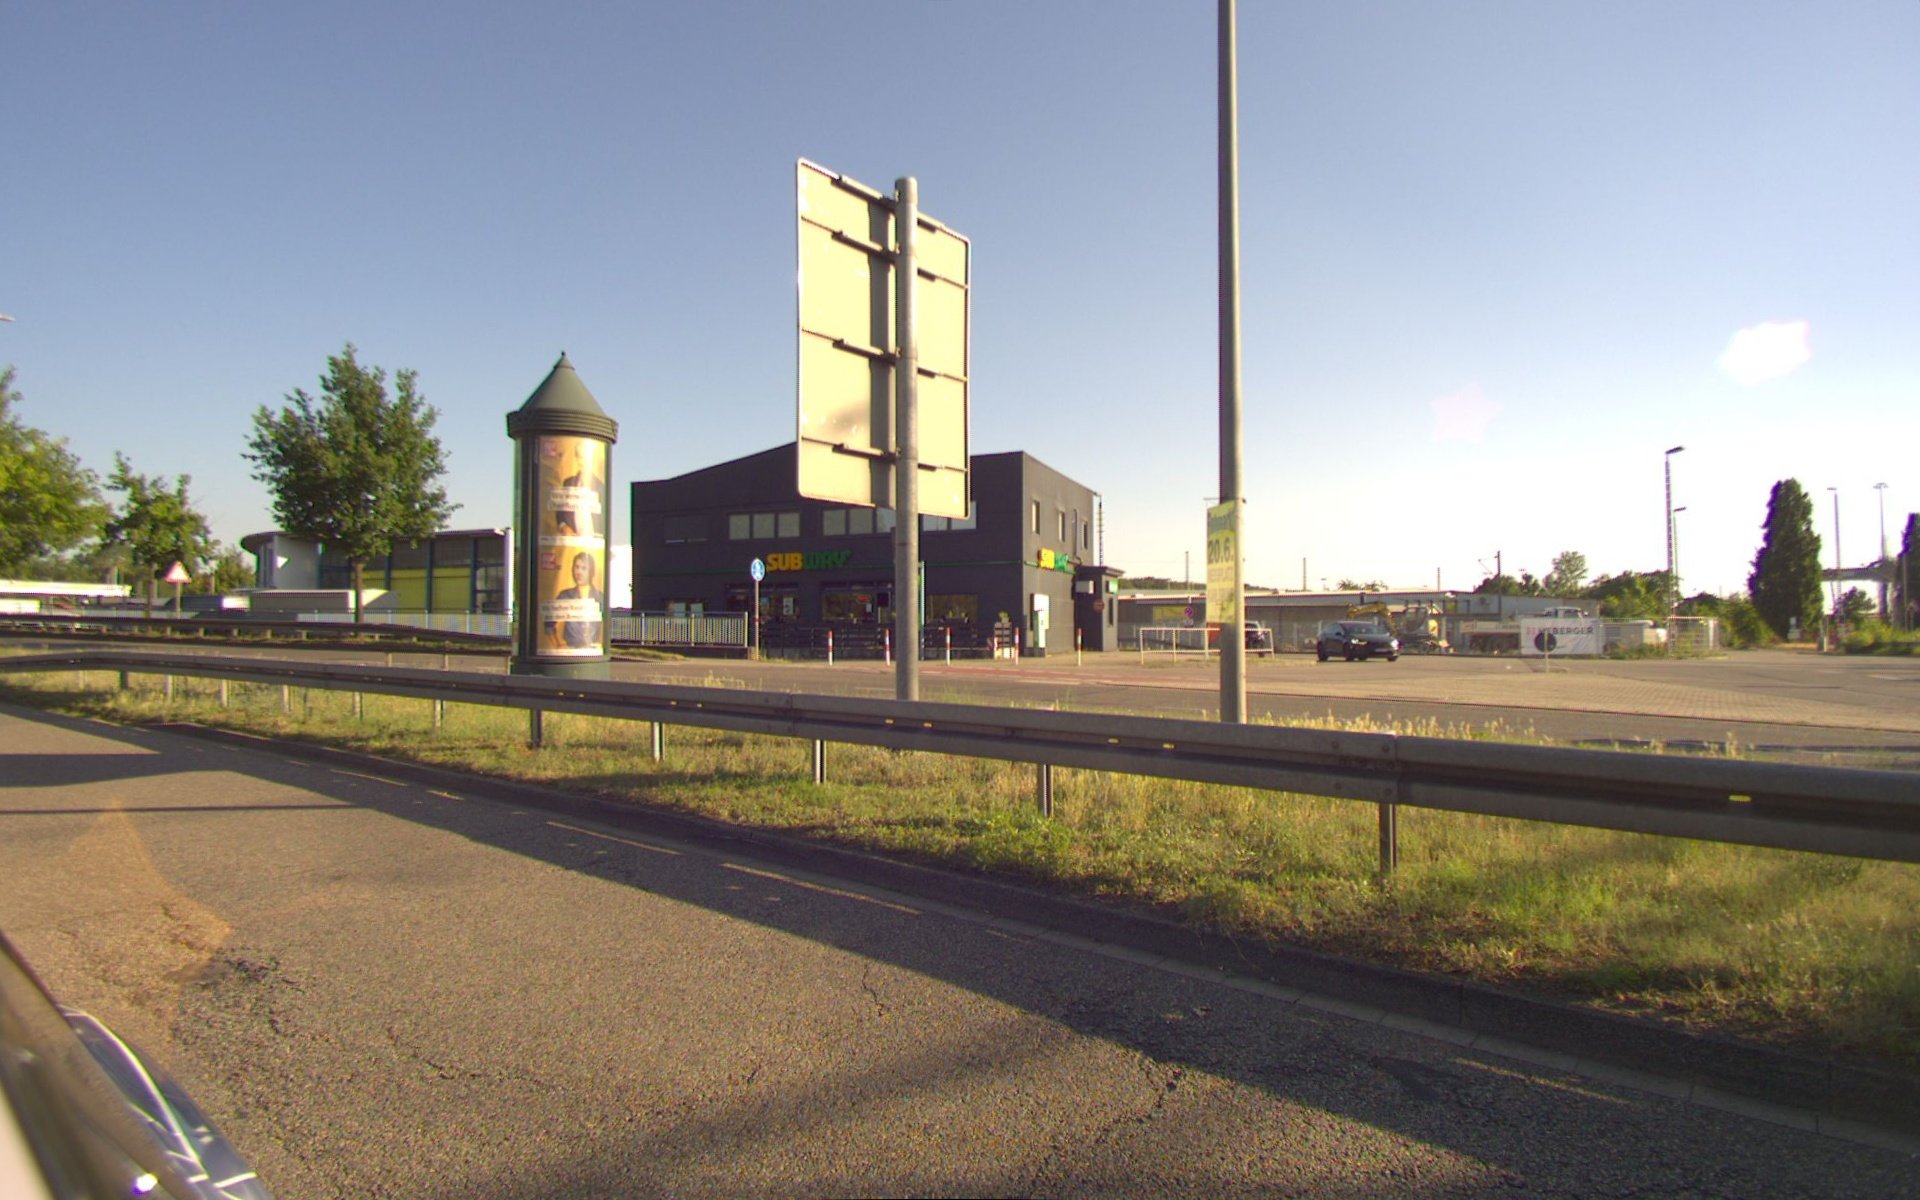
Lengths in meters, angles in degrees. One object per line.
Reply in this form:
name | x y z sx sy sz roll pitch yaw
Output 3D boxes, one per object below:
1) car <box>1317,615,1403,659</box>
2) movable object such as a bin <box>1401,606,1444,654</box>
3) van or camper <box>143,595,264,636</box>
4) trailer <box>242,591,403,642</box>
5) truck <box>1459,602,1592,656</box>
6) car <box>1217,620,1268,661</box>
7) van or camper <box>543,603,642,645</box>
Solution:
car | 16.389 1.481 41.697 1.767 1.676 4.518 0 -1 0
movable object such as a bin | 27.408 1.748 59.954 2.210 2.735 1.722 0 -1 28
van or camper | -33.758 0.661 45.165 4.925 1.698 1.986 1 -1 21
trailer | -26.922 0.657 42.717 6.561 1.985 2.409 1 -1 22
truck | 34.860 1.753 62.591 6.696 3.168 2.434 1 -1 7
car | 11.725 1.629 41.789 1.829 1.541 3.975 0 -1 19
van or camper | -18.042 1.193 49.769 4.158 1.940 2.006 2 -1 -33
